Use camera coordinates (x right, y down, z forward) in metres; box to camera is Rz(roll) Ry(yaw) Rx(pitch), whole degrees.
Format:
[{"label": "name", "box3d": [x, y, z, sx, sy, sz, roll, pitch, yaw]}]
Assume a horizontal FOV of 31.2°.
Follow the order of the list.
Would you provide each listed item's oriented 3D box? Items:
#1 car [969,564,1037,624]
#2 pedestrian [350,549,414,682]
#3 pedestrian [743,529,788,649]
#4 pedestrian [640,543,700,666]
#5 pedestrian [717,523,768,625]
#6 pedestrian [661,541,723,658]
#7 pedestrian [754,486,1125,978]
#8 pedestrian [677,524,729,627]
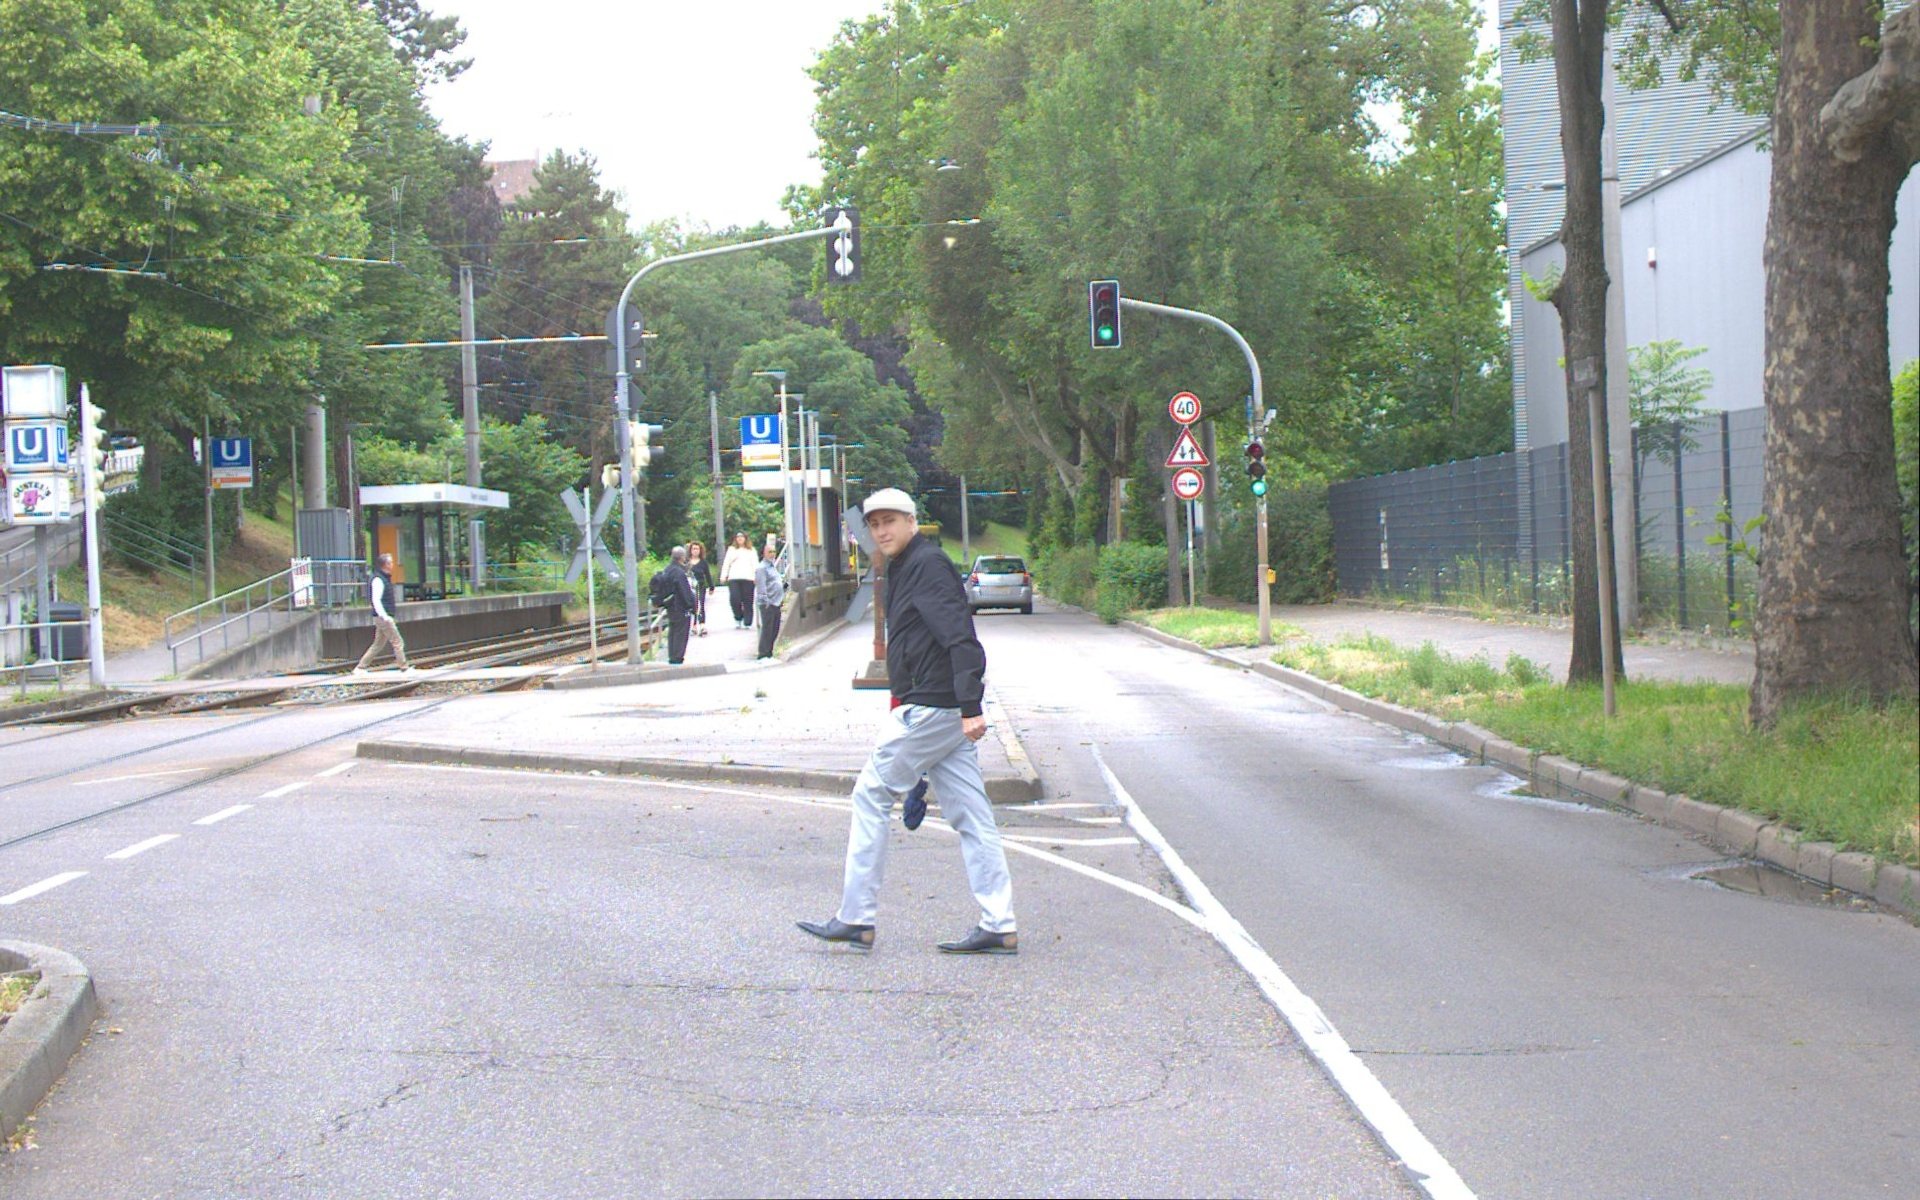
[{"label": "car", "box3d": [1.157, -0.160, 93.997, 1.743, 1.593, 4.000, 1, 0, -1]}, {"label": "pedestrian", "box3d": [-8.002, 0.207, 47.640, 0.802, 1.815, 0.670, 1, 0, -5]}, {"label": "pedestrian", "box3d": [-2.867, -0.158, 50.800, 0.550, 1.752, 0.737, 1, 0, 4]}, {"label": "pedestrian", "box3d": [-3.969, 0.060, 47.071, 0.735, 1.659, 0.682, 1, 0, 1]}, {"label": "pedestrian", "box3d": [-3.564, -0.425, 56.346, 0.735, 1.659, 0.682, 1, 0, -11]}, {"label": "pedestrian", "box3d": [-3.882, -0.011, 49.820, 0.680, 1.659, 0.737, 1, 0, 15]}, {"label": "pedestrian", "box3d": [-0.077, 0.464, 12.922, 1.117, 1.754, 0.813, 0, 1, -38]}, {"label": "pedestrian", "box3d": [-4.159, -0.395, 55.583, 0.735, 1.659, 0.682, 1, 0, -11]}]
